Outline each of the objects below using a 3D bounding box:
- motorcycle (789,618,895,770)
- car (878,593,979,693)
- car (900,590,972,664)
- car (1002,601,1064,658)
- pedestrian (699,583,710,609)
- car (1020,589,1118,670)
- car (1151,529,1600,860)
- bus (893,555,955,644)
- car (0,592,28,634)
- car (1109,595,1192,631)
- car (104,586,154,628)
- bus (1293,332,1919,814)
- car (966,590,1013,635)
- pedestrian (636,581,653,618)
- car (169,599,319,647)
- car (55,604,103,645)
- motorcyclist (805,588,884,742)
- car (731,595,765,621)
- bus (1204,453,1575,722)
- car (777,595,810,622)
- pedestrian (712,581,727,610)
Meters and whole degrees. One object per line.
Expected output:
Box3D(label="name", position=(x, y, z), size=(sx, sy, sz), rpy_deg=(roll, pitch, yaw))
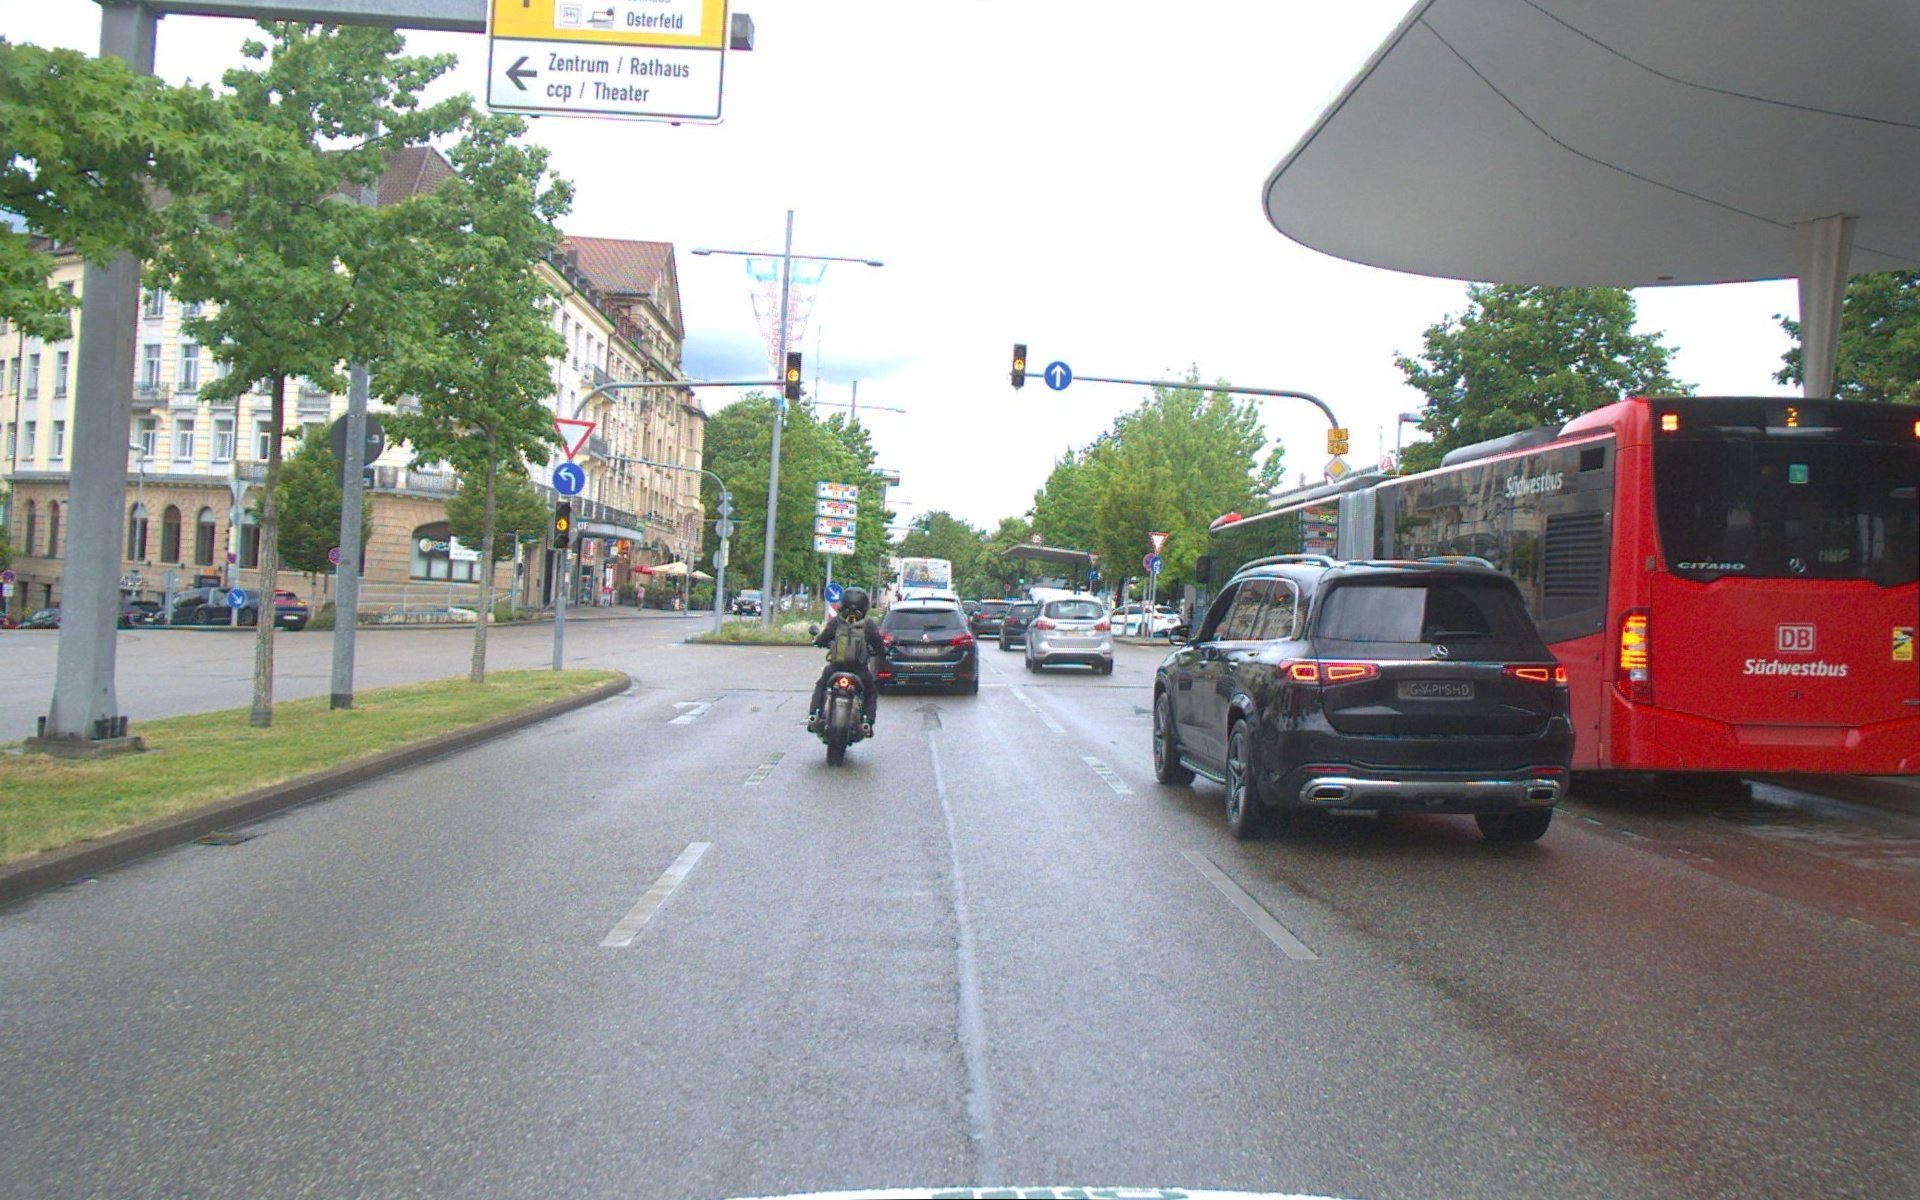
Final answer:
Box3D(label="motorcycle", position=(-1.053, 0.817, 15.145), size=(0.776, 1.284, 1.855), rpy_deg=(0, 0, 2))
Box3D(label="car", position=(-0.510, 0.653, 27.277), size=(1.543, 1.531, 3.870), rpy_deg=(0, 0, -1))
Box3D(label="car", position=(-0.572, 0.574, 37.490), size=(1.544, 1.594, 3.869), rpy_deg=(0, 0, -2))
Box3D(label="car", position=(2.120, 0.831, 48.736), size=(1.544, 1.594, 3.869), rpy_deg=(0, 0, -2))
Box3D(label="pedestrian", position=(-17.609, -0.275, 114.054), size=(0.550, 1.809, 0.497), rpy_deg=(1, -1, 33))
Box3D(label="car", position=(2.235, 0.586, 34.774), size=(1.706, 1.594, 3.869), rpy_deg=(0, 0, -2))
Box3D(label="car", position=(2.694, 0.540, 12.018), size=(1.918, 1.909, 4.872), rpy_deg=(0, 0, -2))
Box3D(label="bus", position=(-1.898, 0.022, 83.297), size=(2.781, 4.057, 11.857), rpy_deg=(2, -1, -2))
Box3D(label="car", position=(-39.602, 0.499, 67.996), size=(1.821, 1.656, 3.660), rpy_deg=(3, -1, -35))
Box3D(label="car", position=(8.704, 0.578, 75.581), size=(1.566, 1.594, 3.740), rpy_deg=(0, 0, -40))
Box3D(label="car", position=(-34.208, 0.282, 68.056), size=(1.641, 1.632, 3.219), rpy_deg=(-1, 1, -30))
Box3D(label="bus", position=(6.257, -0.164, 17.109), size=(3.219, 3.349, 10.875), rpy_deg=(1, 0, -1))
Box3D(label="car", position=(1.064, 0.438, 61.100), size=(1.544, 1.594, 3.794), rpy_deg=(0, 0, -2))
Box3D(label="pedestrian", position=(-17.951, -0.025, 94.027), size=(0.715, 2.049, 0.819), rpy_deg=(1, 0, -28))
Box3D(label="car", position=(-24.067, 0.765, 55.687), size=(4.296, 1.598, 1.823), rpy_deg=(0, 0, 7))
Box3D(label="car", position=(-37.967, 1.026, 71.261), size=(1.642, 1.632, 3.217), rpy_deg=(-1, 1, -32))
Box3D(label="motorcyclist", position=(-1.052, 0.589, 15.221), size=(0.628, 1.371, 0.689), rpy_deg=(1, 0, 1))
Box3D(label="car", position=(-13.052, 0.468, 101.907), size=(1.744, 1.594, 3.428), rpy_deg=(0, 0, -2))
Box3D(label="bus", position=(6.124, -0.155, 25.452), size=(3.224, 3.346, 8.847), rpy_deg=(1, 0, -1))
Box3D(label="car", position=(-10.096, 0.523, 100.261), size=(1.744, 1.594, 3.428), rpy_deg=(0, 0, -2))
Box3D(label="pedestrian", position=(-16.478, -0.324, 113.228), size=(0.715, 2.000, 0.819), rpy_deg=(1, 0, -28))
